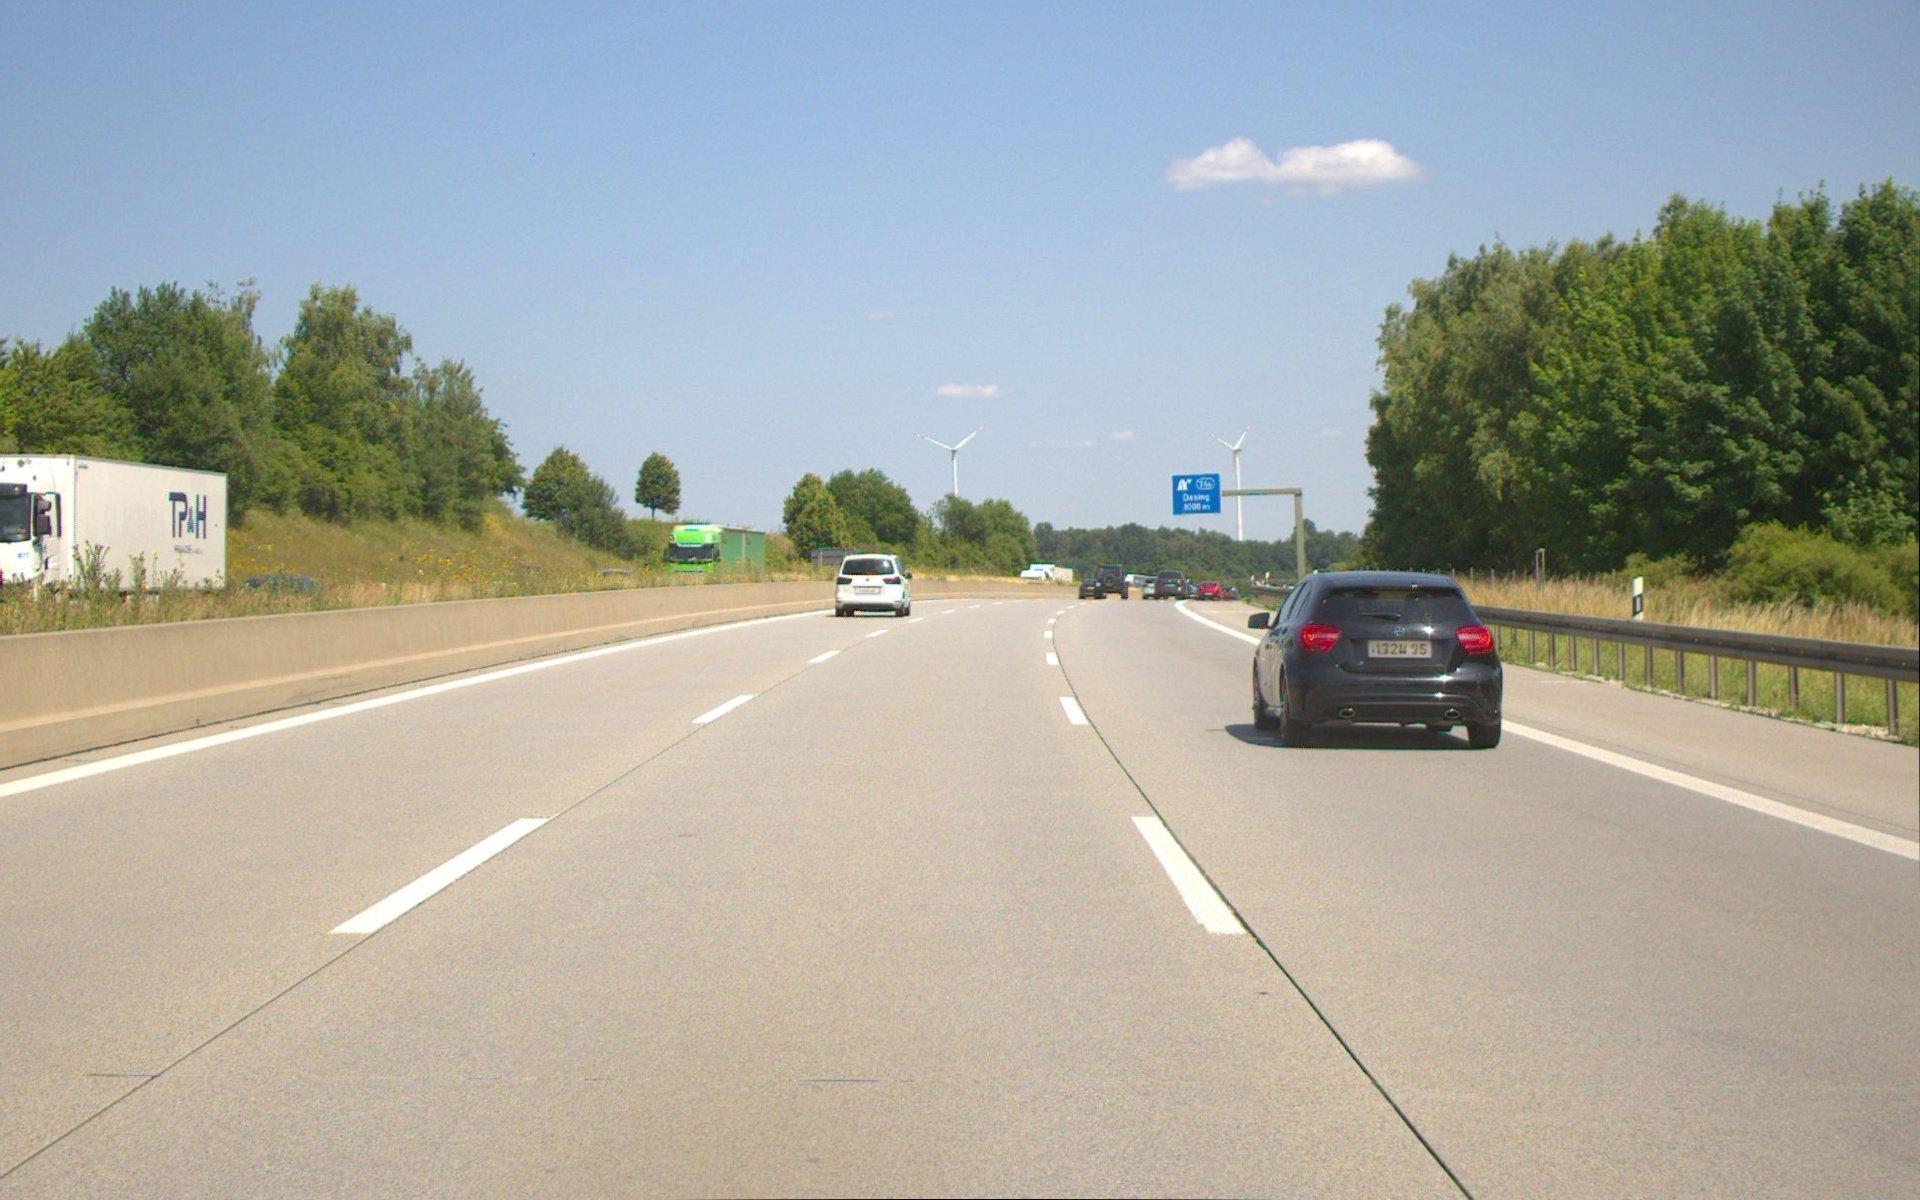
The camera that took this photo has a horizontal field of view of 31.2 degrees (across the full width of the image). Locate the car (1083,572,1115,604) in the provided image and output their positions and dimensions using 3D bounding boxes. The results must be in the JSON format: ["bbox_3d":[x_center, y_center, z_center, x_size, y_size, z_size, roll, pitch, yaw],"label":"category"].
[{"bbox_3d":[8.447,-0.725,209.026,1.827,1.931,3.809,0,1,1],"label":"car"}]

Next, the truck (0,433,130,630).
[{"bbox_3d":[-20.358,-1.463,74.329,2.991,4.046,6.869,0,1,1],"label":"truck"}]

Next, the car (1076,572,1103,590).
[{"bbox_3d":[9.490,-1.403,252.359,1.655,1.192,3.960,2,1,-2],"label":"car"}]

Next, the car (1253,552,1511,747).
[{"bbox_3d":[3.499,0.361,29.173,1.910,1.487,4.191,1,1,4],"label":"car"}]

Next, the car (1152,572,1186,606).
[{"bbox_3d":[11.841,-0.642,195.263,1.827,1.900,4.000,0,1,2],"label":"car"}]

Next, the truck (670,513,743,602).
[{"bbox_3d":[-13.463,-2.268,183.049,3.090,4.646,6.265,0,0,3],"label":"truck"}]

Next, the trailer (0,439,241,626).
[{"bbox_3d":[-20.200,-1.569,81.592,3.005,4.046,14.178,0,1,1],"label":"trailer"}]

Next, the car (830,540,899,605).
[{"bbox_3d":[-2.598,-0.760,94.591,1.845,1.702,6.036,0,0,-1],"label":"car"}]
